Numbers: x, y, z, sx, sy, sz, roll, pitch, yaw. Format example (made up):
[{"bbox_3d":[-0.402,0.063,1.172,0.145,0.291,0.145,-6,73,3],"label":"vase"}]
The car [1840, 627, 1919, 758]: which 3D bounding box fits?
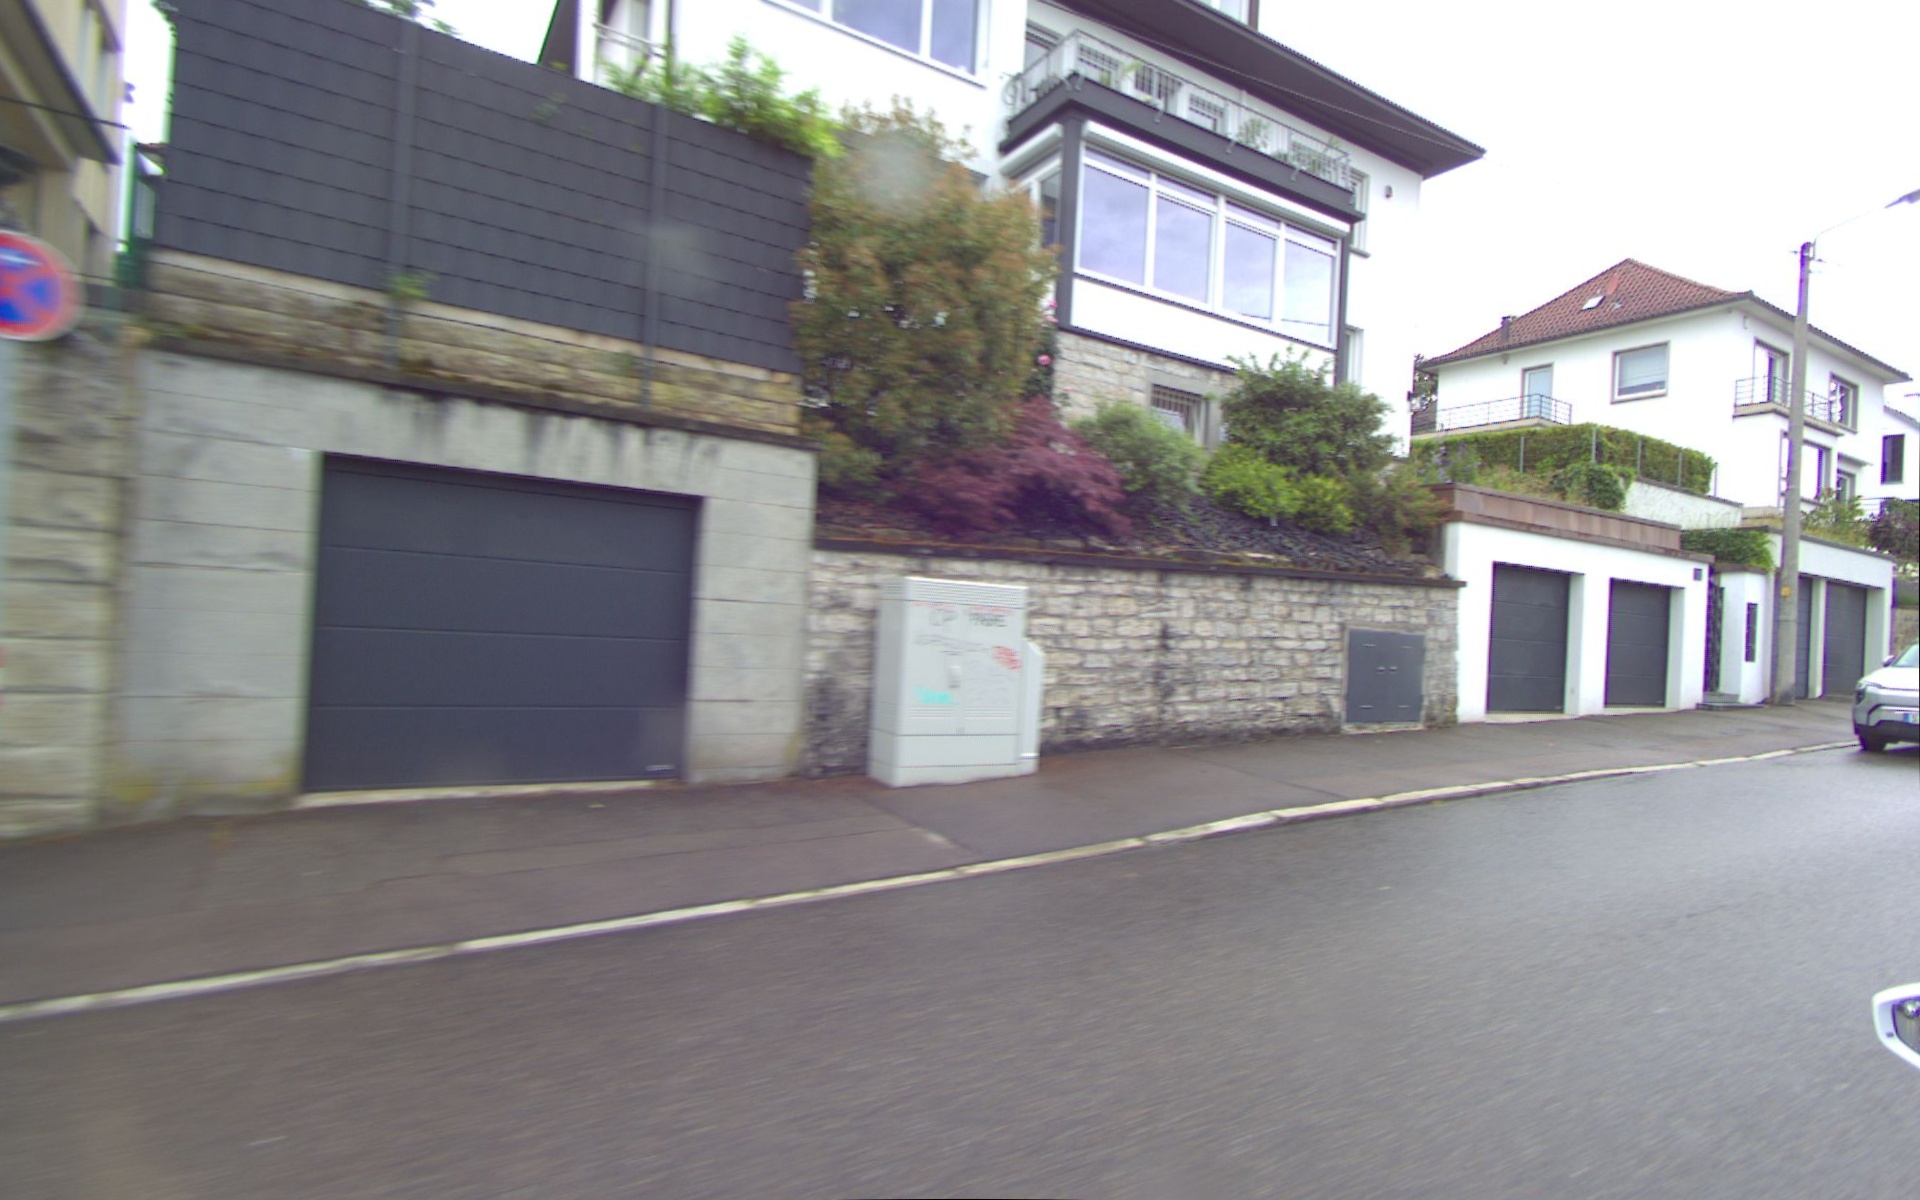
[{"bbox_3d":[13.646,1.182,13.259,4.189,1.588,1.888,1,-1,-31],"label":"car"}]
